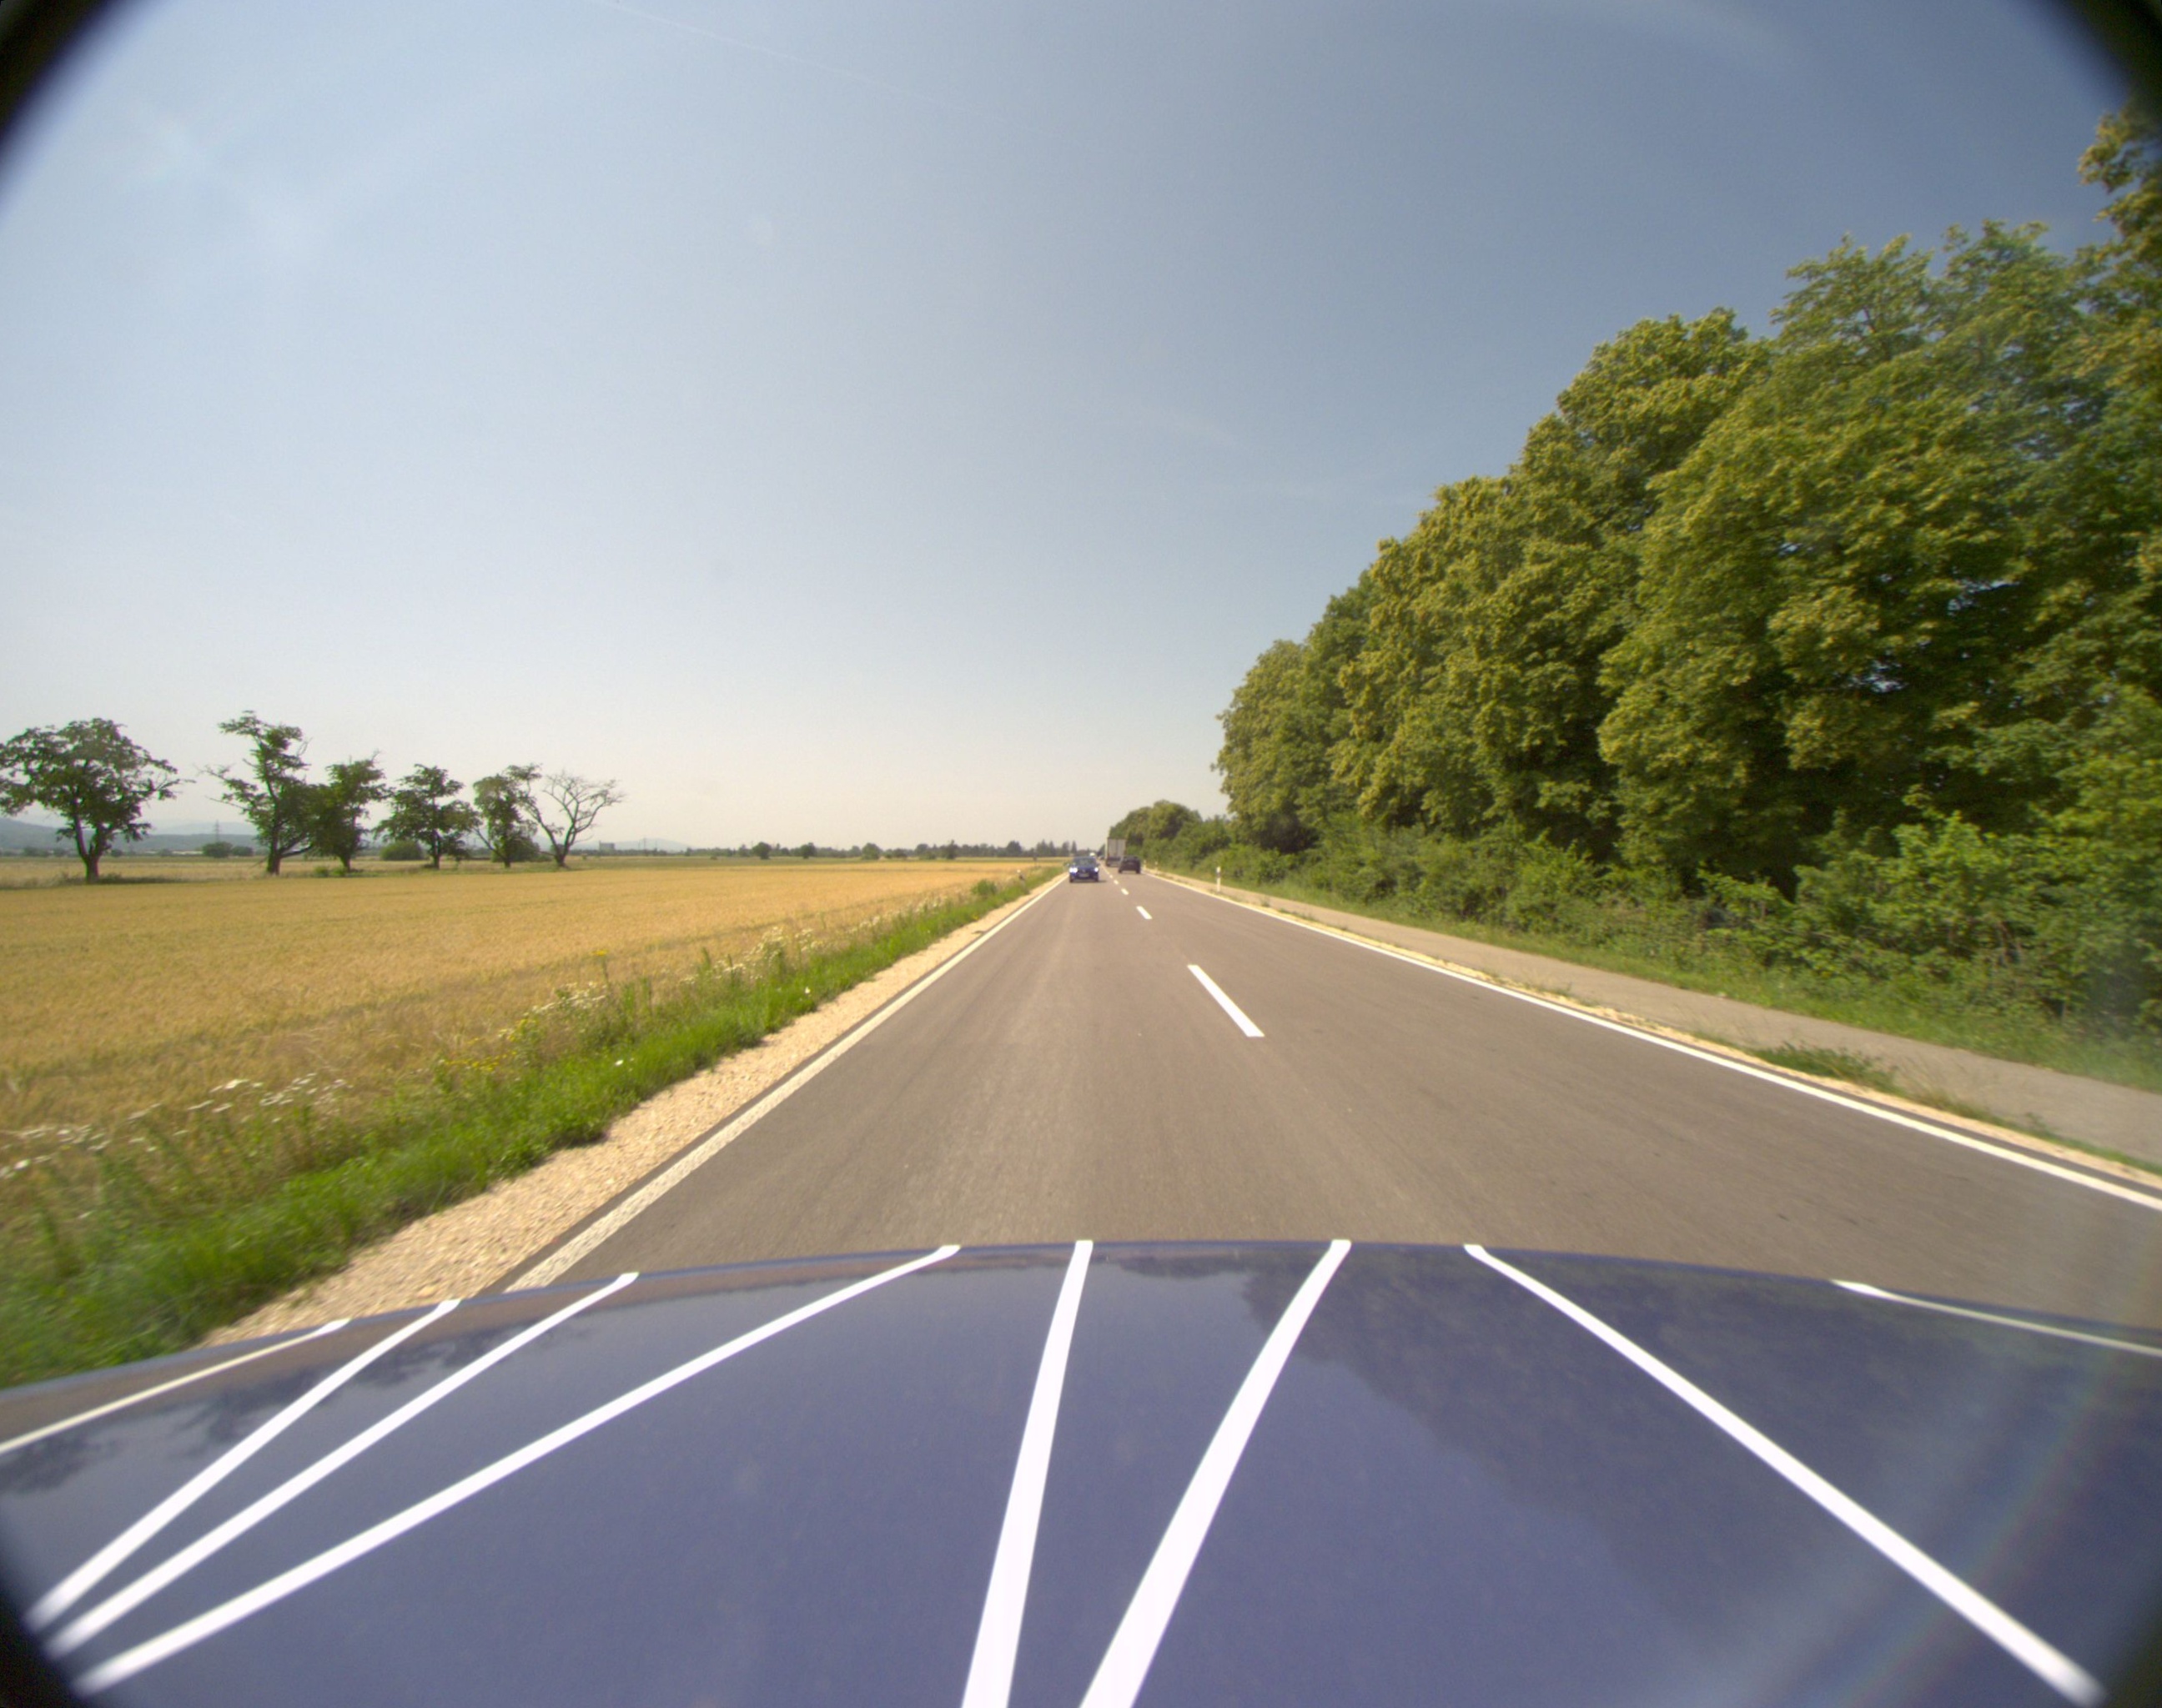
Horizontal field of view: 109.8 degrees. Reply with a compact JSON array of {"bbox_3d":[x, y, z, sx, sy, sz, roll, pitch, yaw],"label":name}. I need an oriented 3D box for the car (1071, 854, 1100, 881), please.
[{"bbox_3d":[0.271,0.785,45.772,1.662,1.509,4.000,-2,0,0],"label":"car"}]

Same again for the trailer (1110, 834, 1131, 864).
[{"bbox_3d":[5.658,-0.706,110.280,2.660,3.954,13.353,1,0,1],"label":"trailer"}]

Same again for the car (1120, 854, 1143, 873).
[{"bbox_3d":[4.476,0.791,67.313,1.796,1.565,4.479,0,0,1],"label":"car"}]
